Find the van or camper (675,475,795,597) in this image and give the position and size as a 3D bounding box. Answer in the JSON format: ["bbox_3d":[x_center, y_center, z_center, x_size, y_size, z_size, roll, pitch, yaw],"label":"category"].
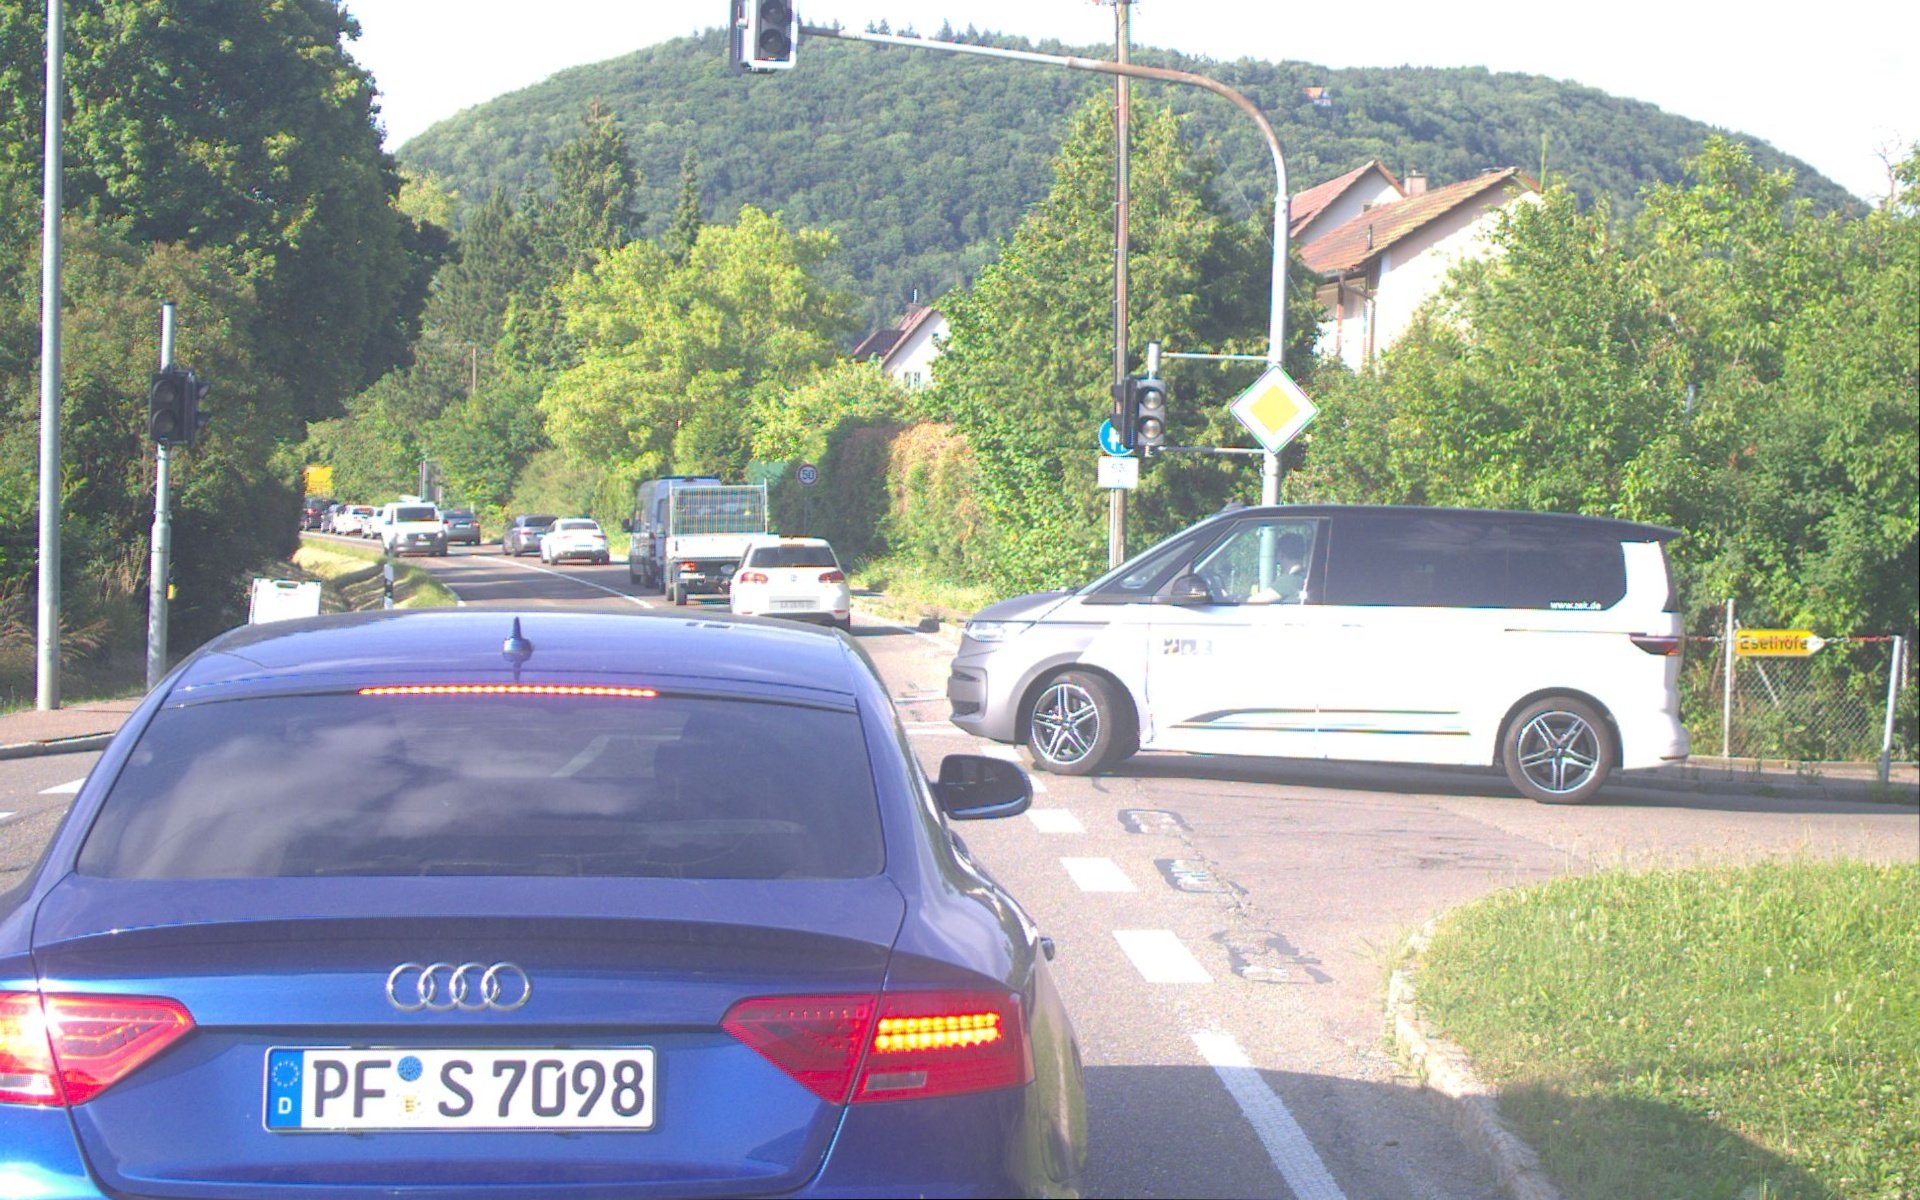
[{"bbox_3d":[-4.613,-1.326,69.900,2.179,2.377,5.371,0,2,-6],"label":"van or camper"}]

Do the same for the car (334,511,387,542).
[{"bbox_3d":[-28.816,-3.531,165.263,1.941,1.419,4.001,0,2,-18],"label":"car"}]

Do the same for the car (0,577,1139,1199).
[{"bbox_3d":[-0.768,0.698,6.457,1.829,1.404,4.227,-1,1,-2],"label":"car"}]

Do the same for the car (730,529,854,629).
[{"bbox_3d":[-2.542,-0.350,52.608,1.771,1.410,4.174,2,1,-2],"label":"car"}]

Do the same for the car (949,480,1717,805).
[{"bbox_3d":[2.480,0.232,23.197,4.856,1.870,2.000,3,2,6],"label":"car"}]

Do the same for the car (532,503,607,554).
[{"bbox_3d":[-12.213,-2.244,107.247,1.819,1.546,4.002,0,2,-14],"label":"car"}]

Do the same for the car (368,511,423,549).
[{"bbox_3d":[-25.716,-3.179,156.555,1.941,1.678,4.001,-1,1,-17],"label":"car"}]

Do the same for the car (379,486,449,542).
[{"bbox_3d":[-19.390,-3.058,121.857,1.993,1.897,5.255,-1,2,-14],"label":"car"}]

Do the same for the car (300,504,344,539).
[{"bbox_3d":[-32.963,-4.035,177.588,1.771,1.776,4.001,-1,1,-18],"label":"car"}]

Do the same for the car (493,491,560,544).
[{"bbox_3d":[-15.001,-2.859,118.759,1.796,1.787,4.001,-1,1,-14],"label":"car"}]

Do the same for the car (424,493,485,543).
[{"bbox_3d":[-20.508,-3.327,139.329,1.993,2.006,4.002,0,2,-15],"label":"car"}]

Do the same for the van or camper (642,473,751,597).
[{"bbox_3d":[-6.451,-1.600,83.585,2.414,2.894,6.133,0,2,-6],"label":"van or camper"}]
